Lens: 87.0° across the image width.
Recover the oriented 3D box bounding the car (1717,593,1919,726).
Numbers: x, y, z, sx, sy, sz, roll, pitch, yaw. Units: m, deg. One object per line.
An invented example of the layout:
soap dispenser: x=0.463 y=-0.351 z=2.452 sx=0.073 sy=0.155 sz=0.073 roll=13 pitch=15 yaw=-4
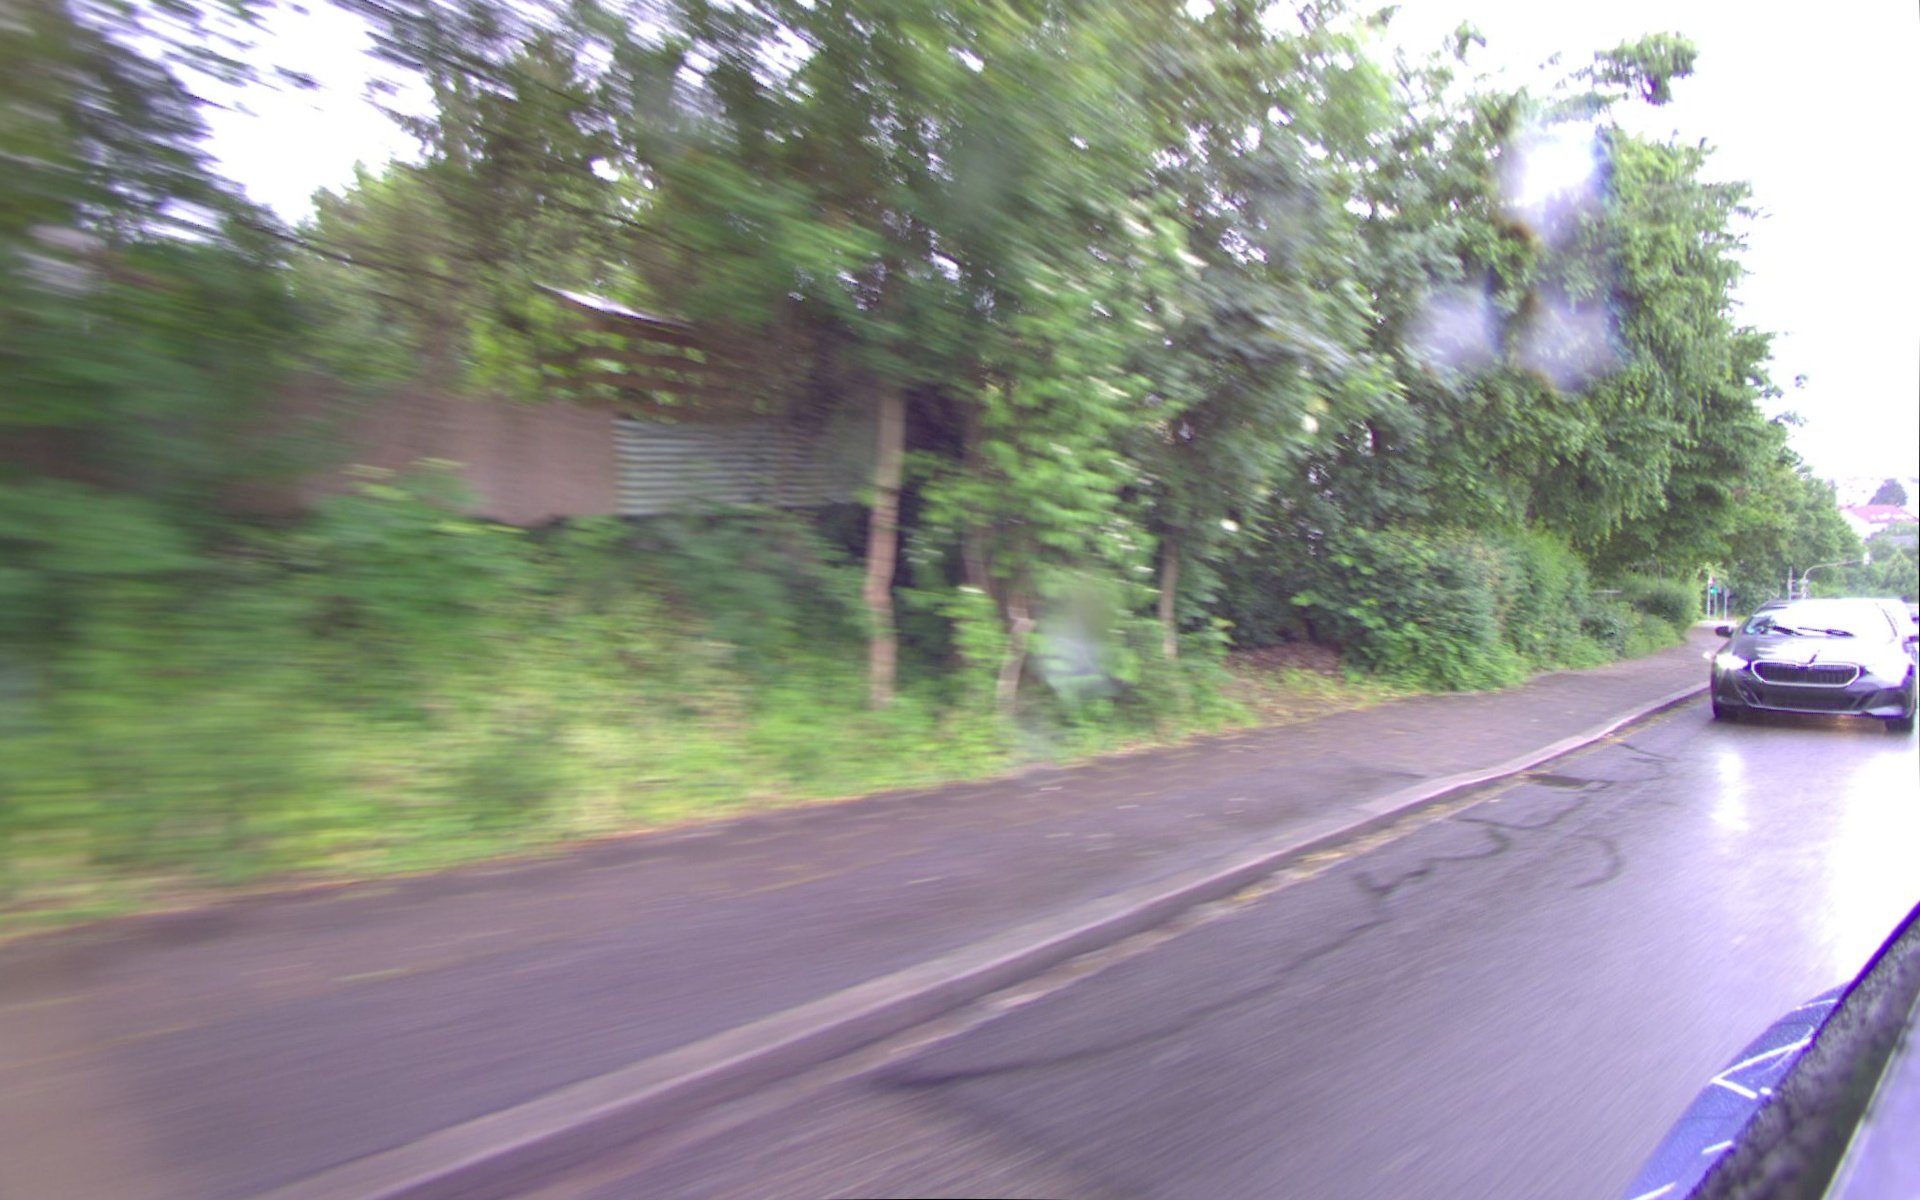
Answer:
car: x=11.293 y=0.635 z=12.914 sx=4.210 sy=1.396 sz=1.843 roll=-1 pitch=0 yaw=-42

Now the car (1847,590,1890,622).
car: x=51.080 y=0.321 z=56.875 sx=1.699 sy=1.701 sz=4.216 roll=3 pitch=2 yaw=43

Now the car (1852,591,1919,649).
car: x=27.076 y=0.537 z=29.370 sx=1.548 sy=1.532 sz=4.214 roll=3 pitch=2 yaw=44
